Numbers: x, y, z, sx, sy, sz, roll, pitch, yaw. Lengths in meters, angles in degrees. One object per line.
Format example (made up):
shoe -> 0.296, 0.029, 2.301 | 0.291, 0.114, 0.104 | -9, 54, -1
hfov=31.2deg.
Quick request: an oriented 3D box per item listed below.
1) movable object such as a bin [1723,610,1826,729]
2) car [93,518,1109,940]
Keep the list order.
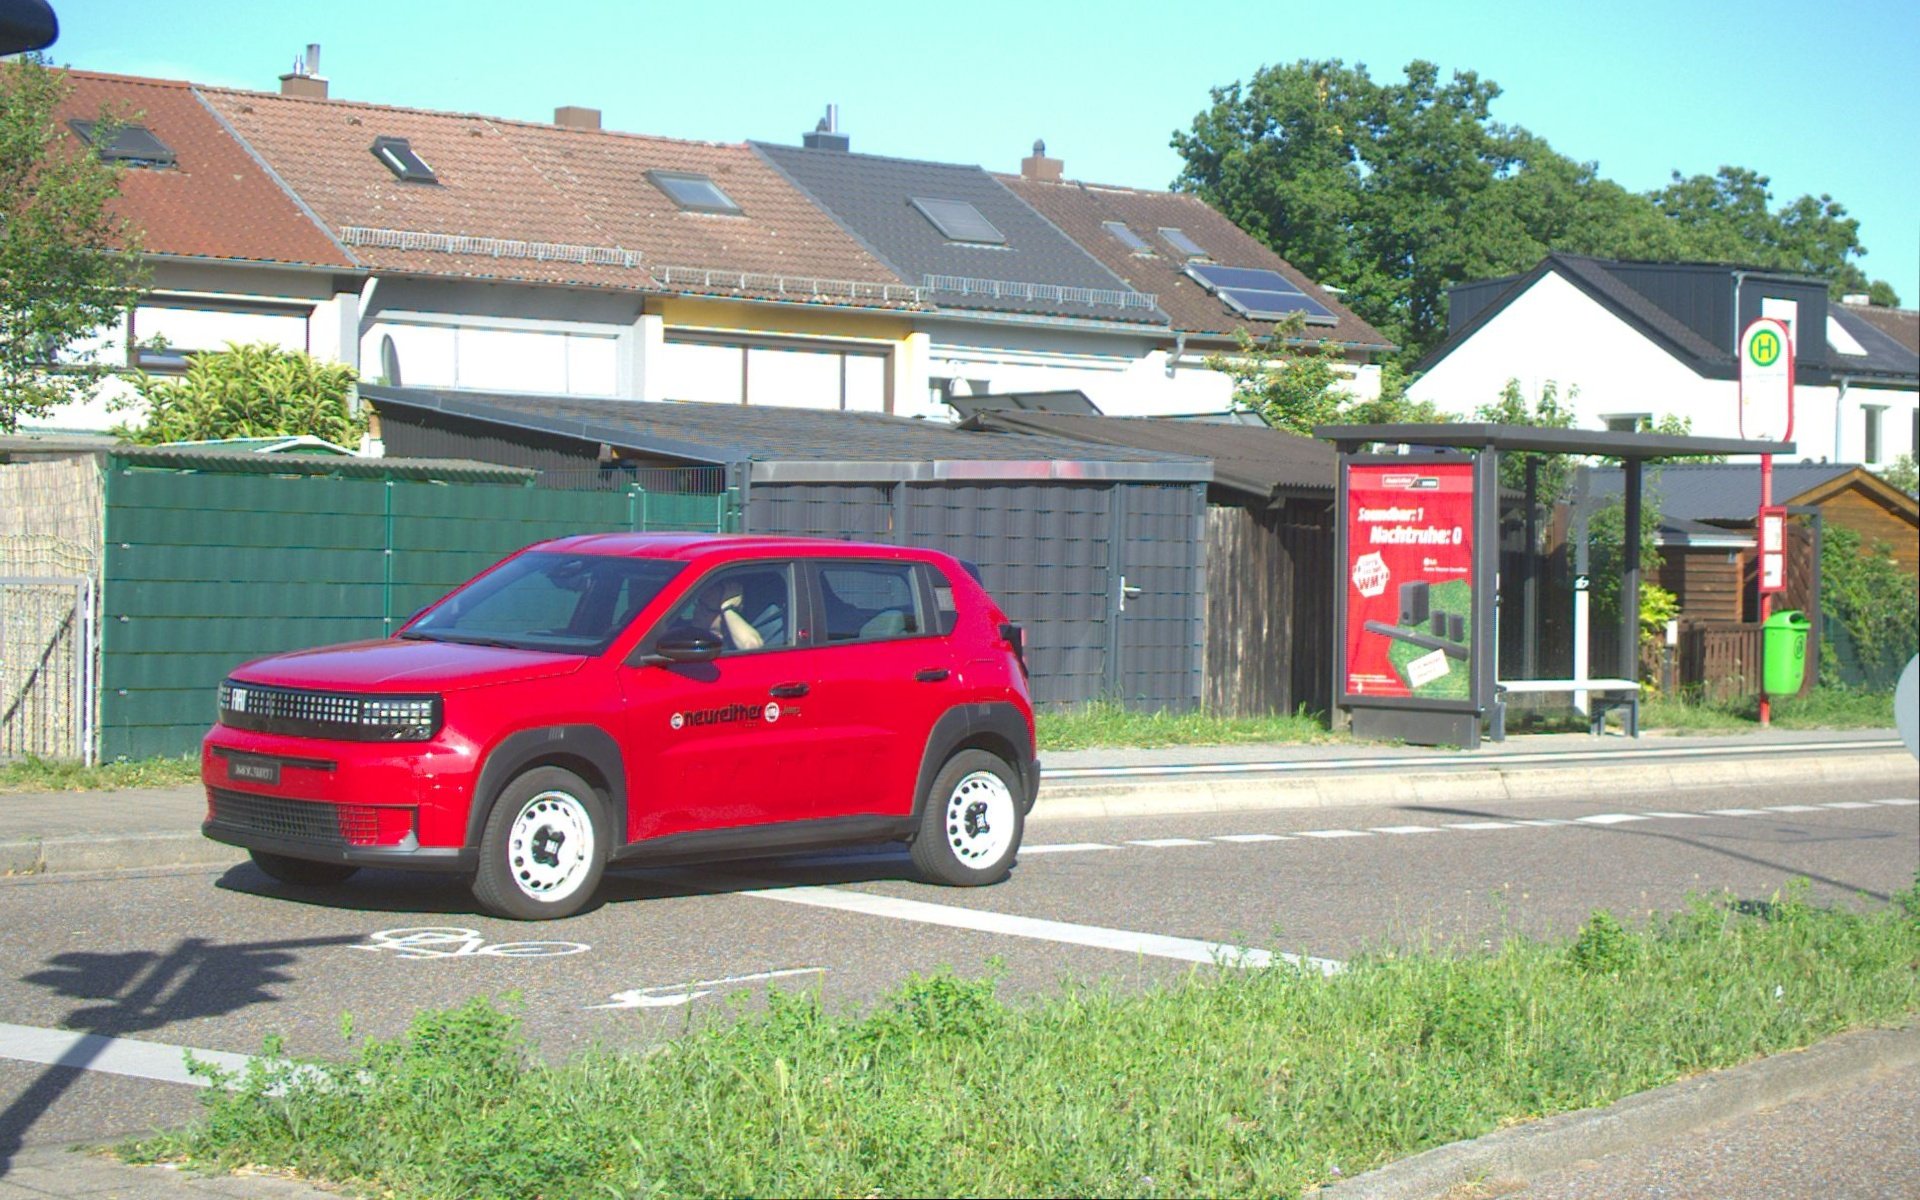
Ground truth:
movable object such as a bin -> 7.087, 0.600, 29.915 | 0.594, 0.964, 0.557 | 7, 5, 44
car -> -1.468, 0.489, 15.216 | 1.945, 1.583, 4.170 | 2, 1, 44
